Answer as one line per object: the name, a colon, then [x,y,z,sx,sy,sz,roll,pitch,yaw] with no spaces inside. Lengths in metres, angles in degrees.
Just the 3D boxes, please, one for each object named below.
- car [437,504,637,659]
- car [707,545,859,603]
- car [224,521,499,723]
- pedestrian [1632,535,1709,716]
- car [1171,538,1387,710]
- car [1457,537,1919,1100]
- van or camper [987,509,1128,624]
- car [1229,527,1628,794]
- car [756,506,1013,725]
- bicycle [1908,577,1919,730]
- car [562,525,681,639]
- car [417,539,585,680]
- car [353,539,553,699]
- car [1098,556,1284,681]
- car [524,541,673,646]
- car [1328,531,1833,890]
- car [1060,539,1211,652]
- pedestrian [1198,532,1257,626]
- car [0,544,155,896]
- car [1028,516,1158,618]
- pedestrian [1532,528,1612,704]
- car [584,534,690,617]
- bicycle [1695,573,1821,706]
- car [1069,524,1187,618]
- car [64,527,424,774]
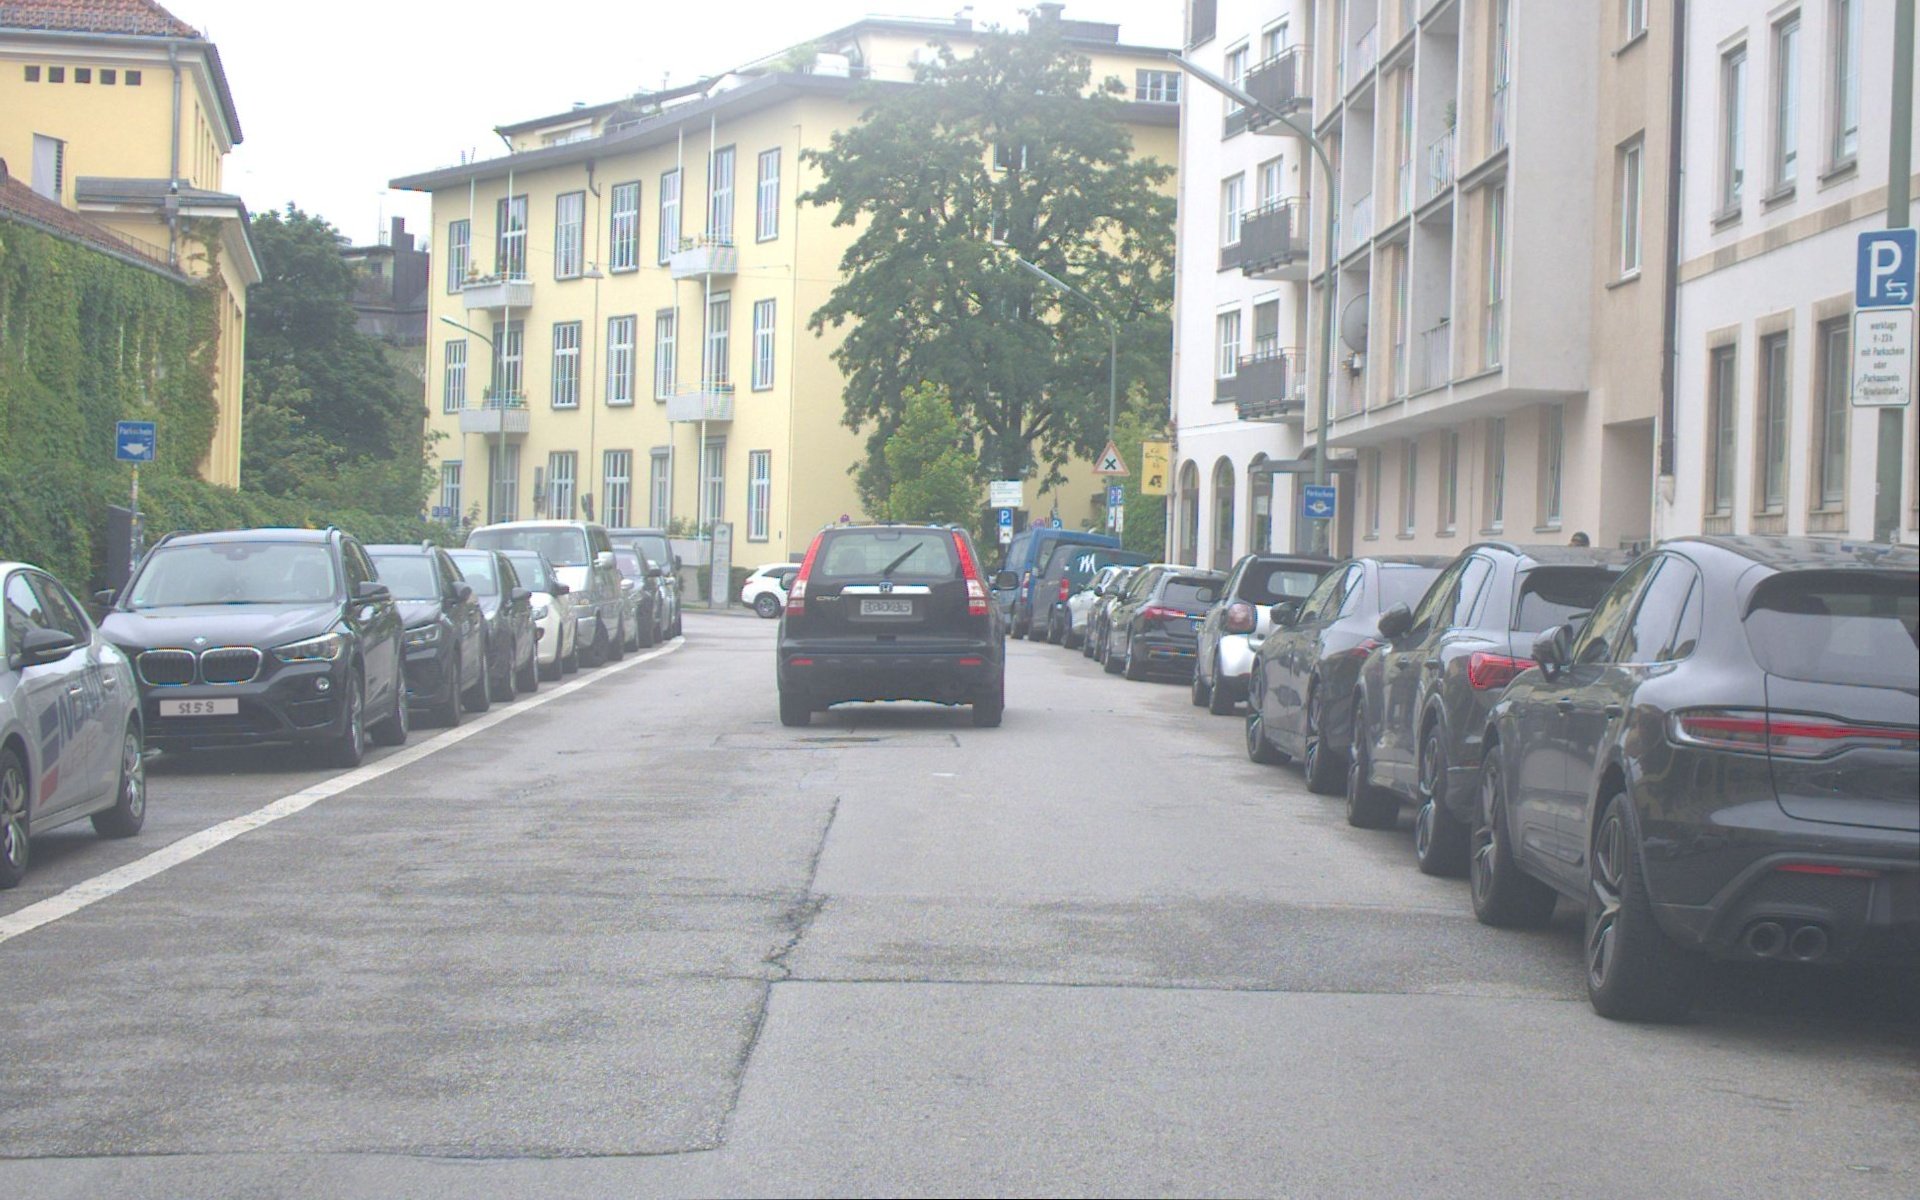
car: [-5.409,-0.287,44.535,1.993,1.869,4.758,1,1,0]
car: [-5.225,-0.788,101.404,3.992,1.612,1.997,2,1,26]
car: [-4.991,0.125,29.137,1.781,1.532,4.150,1,1,-3]
pedestrian: [6.325,0.221,30.622,0.531,1.579,0.560,1,1,-1]
car: [3.036,0.186,33.375,1.671,1.529,3.881,1,1,-1]
car: [2.961,0.619,12.111,1.778,1.579,4.330,3,1,1]
van or camper: [1.953,-0.717,70.582,2.060,2.223,5.440,1,1,-7]
car: [2.953,0.307,22.708,1.855,1.539,4.817,1,1,-1]
car: [-0.592,0.071,29.145,1.995,1.688,4.380,1,1,0]
bicycle: [7.372,0.408,24.465,0.659,1.122,2.028,0,1,-1]
car: [-5.408,-0.327,55.324,1.619,1.724,4.425,1,1,-2]
car: [-5.190,0.071,39.220,1.578,1.487,3.731,1,1,-3]
car: [-4.968,0.141,34.086,1.578,1.450,3.905,1,1,-3]
car: [2.858,0.192,43.349,1.796,1.416,4.483,2,1,-3]
car: [-5.247,-0.122,50.358,1.701,1.418,4.425,1,1,0]
car: [2.990,0.449,17.431,1.778,1.579,4.272,0,1,0]
car: [2.467,-0.098,49.295,1.739,1.494,4.220,1,1,-3]
pedestrian: [4.879,-0.382,62.778,0.898,1.682,1.320,1,1,-2]
car: [-4.865,0.485,15.555,1.679,1.421,3.895,-1,1,-3]
car: [2.458,-0.655,64.773,1.964,1.810,4.937,1,1,-3]
pedestrian: [5.825,0.146,32.745,0.596,1.648,0.630,1,1,-1]
car: [-5.678,-0.458,60.759,1.619,1.373,4.072,1,1,-2]
bicycle: [7.331,0.344,31.671,0.659,1.159,2.028,0,1,-1]
car: [2.870,-0.525,59.389,1.739,1.532,4.274,1,1,-1]
car: [-4.797,0.271,23.574,1.781,1.532,4.196,0,1,-3]
